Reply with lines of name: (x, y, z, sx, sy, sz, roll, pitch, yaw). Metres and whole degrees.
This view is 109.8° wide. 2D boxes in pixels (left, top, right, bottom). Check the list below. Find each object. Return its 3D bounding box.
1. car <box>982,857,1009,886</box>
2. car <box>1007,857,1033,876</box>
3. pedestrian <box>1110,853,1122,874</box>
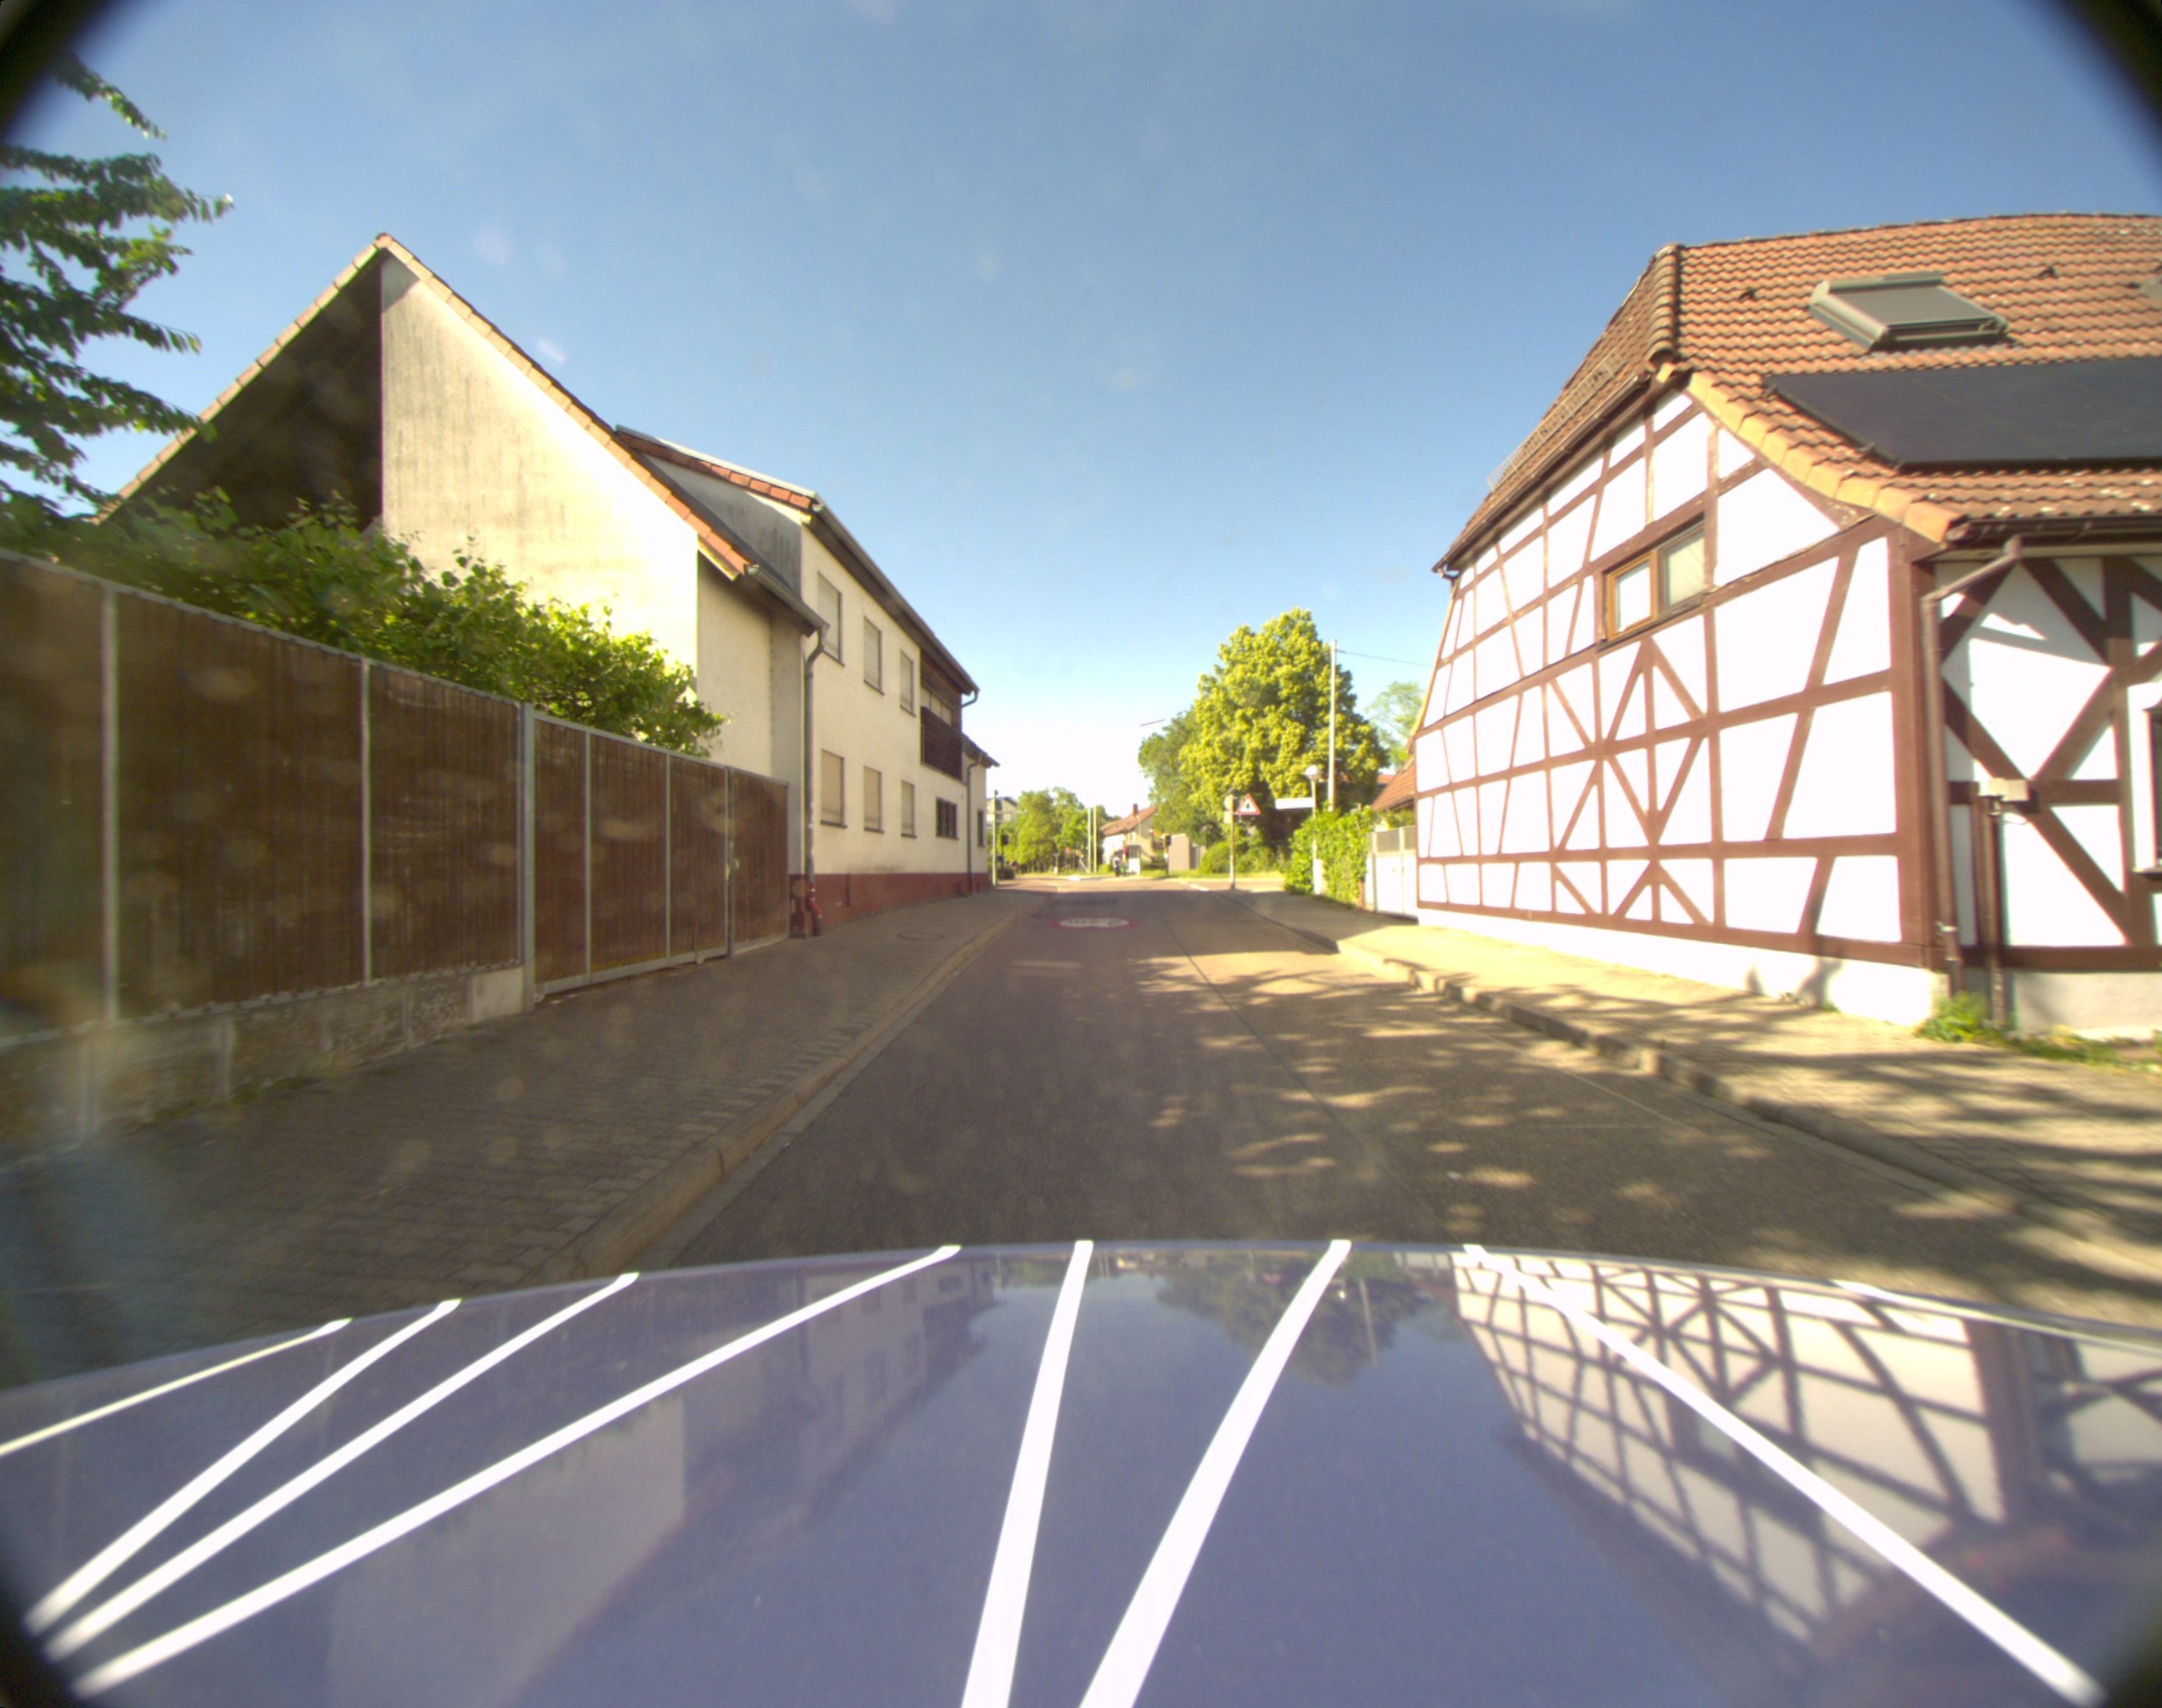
car: (-6.531, 1.295, 58.116, 2.000, 2.066, 4.575, -1, 0, -7)
car: (-6.380, 1.243, 79.300, 1.967, 1.908, 4.572, -1, 0, -14)
pedestrian: (2.965, 0.802, 64.097, 0.716, 1.792, 0.772, -1, 2, 30)
